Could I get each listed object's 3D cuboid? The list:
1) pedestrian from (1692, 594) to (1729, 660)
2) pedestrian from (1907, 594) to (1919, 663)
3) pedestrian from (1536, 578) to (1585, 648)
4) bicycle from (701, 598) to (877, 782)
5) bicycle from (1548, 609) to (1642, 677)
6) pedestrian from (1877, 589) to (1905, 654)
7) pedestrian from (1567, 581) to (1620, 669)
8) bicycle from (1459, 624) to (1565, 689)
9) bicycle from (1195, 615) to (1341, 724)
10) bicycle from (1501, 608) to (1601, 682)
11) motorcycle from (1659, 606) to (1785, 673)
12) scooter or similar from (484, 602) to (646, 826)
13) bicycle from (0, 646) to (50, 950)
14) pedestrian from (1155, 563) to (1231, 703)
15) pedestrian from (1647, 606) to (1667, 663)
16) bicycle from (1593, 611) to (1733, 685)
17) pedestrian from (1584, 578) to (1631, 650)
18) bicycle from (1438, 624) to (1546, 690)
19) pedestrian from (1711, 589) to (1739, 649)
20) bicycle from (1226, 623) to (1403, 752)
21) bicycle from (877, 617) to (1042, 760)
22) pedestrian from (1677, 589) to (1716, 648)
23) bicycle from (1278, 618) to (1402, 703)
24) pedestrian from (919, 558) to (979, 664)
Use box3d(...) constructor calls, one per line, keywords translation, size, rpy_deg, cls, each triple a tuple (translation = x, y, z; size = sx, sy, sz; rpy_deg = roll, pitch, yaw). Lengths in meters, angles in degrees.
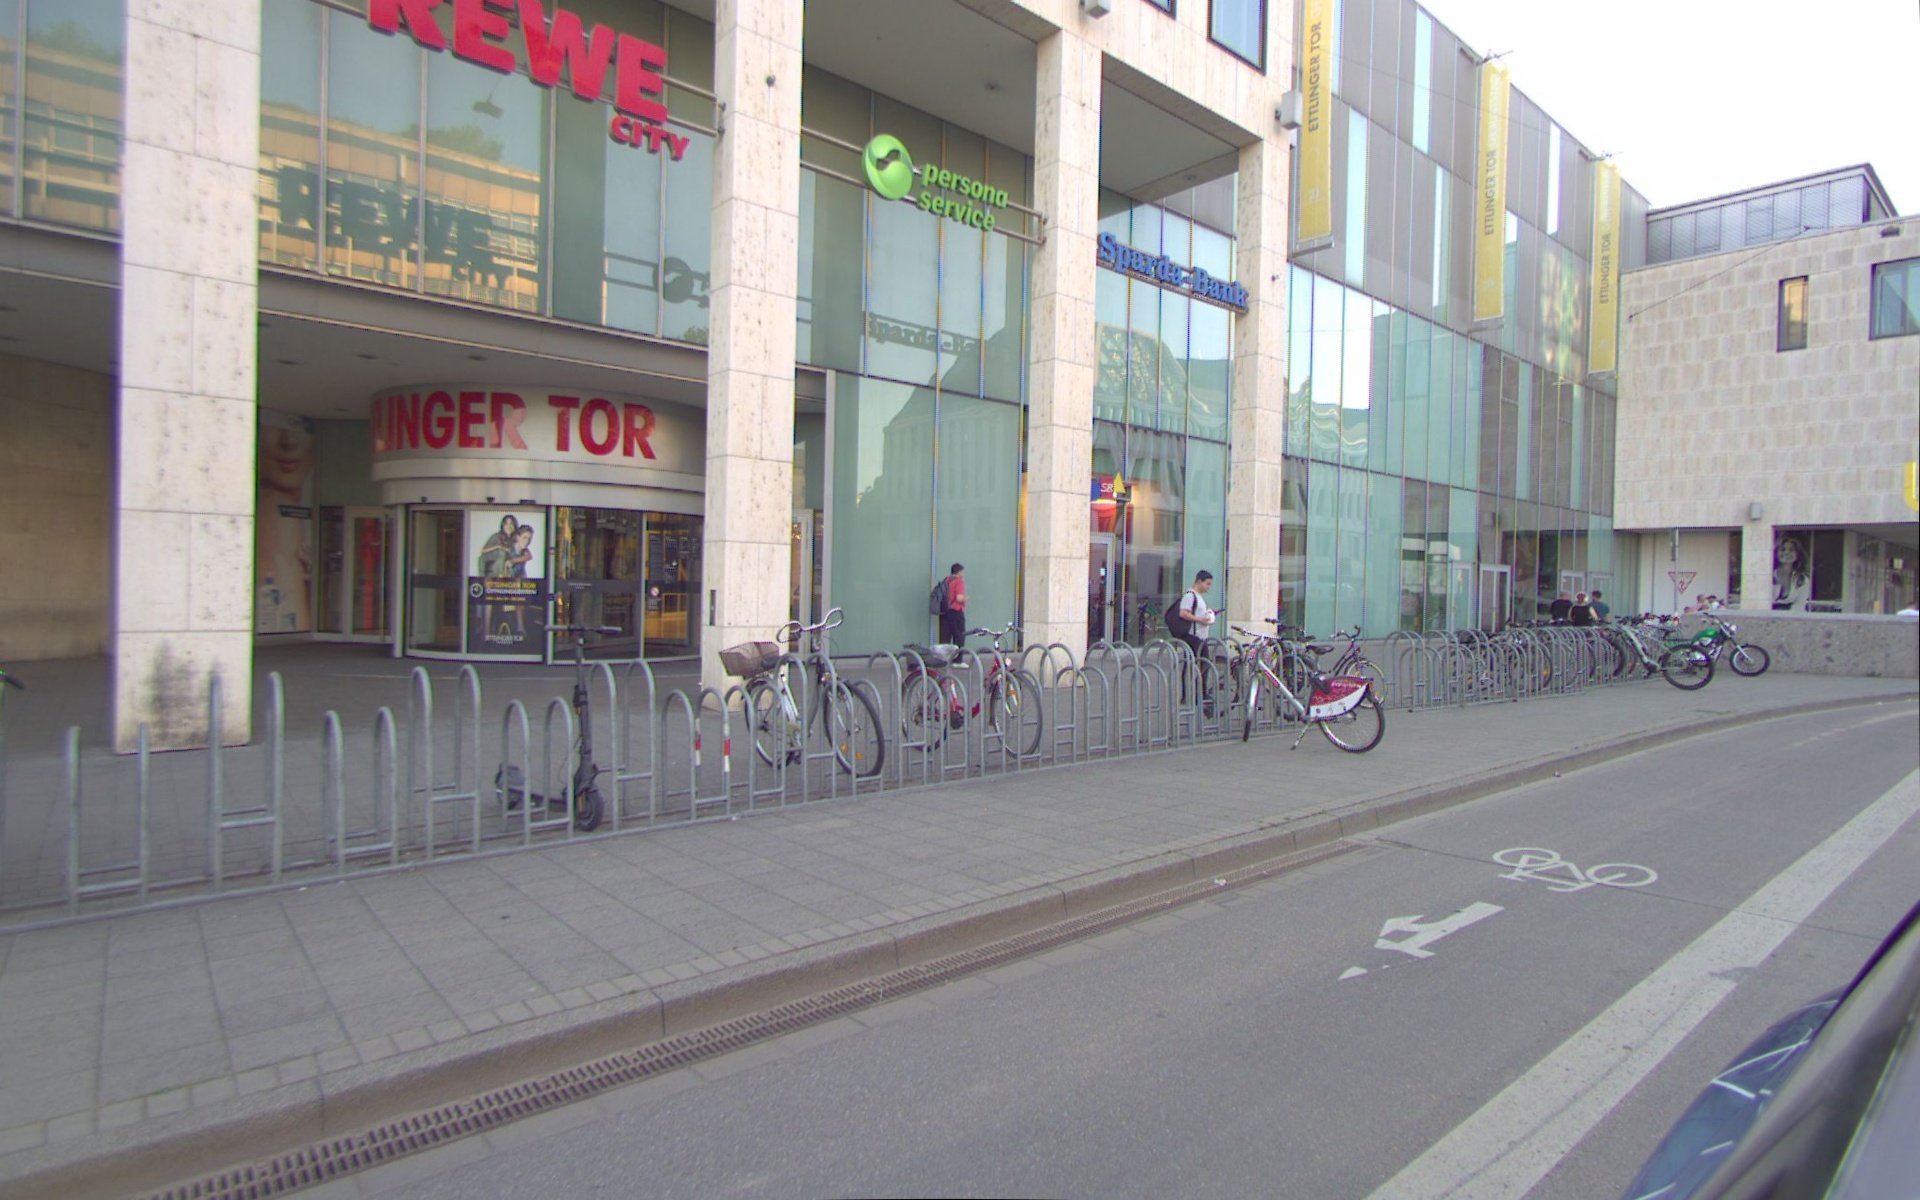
box3d(translation=(21.242, 0.754, 28.647), size=(0.797, 1.802, 0.619), rpy_deg=(1, 1, -38), cls="pedestrian")
box3d(translation=(24.717, 0.732, 25.955), size=(0.483, 1.765, 0.516), rpy_deg=(1, 1, -38), cls="pedestrian")
box3d(translation=(14.781, 0.311, 24.908), size=(0.805, 1.668, 0.740), rpy_deg=(1, 1, -37), cls="pedestrian")
box3d(translation=(-1.323, 0.620, 7.642), size=(0.607, 1.243, 1.517), rpy_deg=(1, -2, -41), cls="bicycle")
box3d(translation=(11.432, 0.763, 18.245), size=(0.509, 1.179, 1.344), rpy_deg=(1, -2, -41), cls="bicycle")
box3d(translation=(25.585, 0.591, 27.810), size=(0.483, 1.765, 0.455), rpy_deg=(1, 1, -38), cls="pedestrian")
box3d(translation=(12.334, 0.475, 19.719), size=(0.802, 1.663, 0.640), rpy_deg=(2, 1, 31), cls="pedestrian")
box3d(translation=(8.494, 0.848, 15.610), size=(0.509, 0.944, 1.344), rpy_deg=(1, -2, -41), cls="bicycle")
box3d(translation=(3.417, 0.735, 11.335), size=(0.569, 1.138, 1.519), rpy_deg=(1, -2, -36), cls="bicycle")
box3d(translation=(9.869, 0.730, 16.920), size=(0.509, 1.179, 1.344), rpy_deg=(1, -2, -41), cls="bicycle")
box3d(translation=(15.617, 0.783, 20.791), size=(0.472, 1.239, 2.004), rpy_deg=(1, 1, -43), cls="motorcycle")
box3d(translation=(-2.480, 0.645, 6.299), size=(0.484, 1.214, 1.194), rpy_deg=(1, 1, -44), cls="scooter or similar")
box3d(translation=(-4.525, 0.817, 4.549), size=(1.768, 1.092, 0.475), rpy_deg=(3, 1, 43), cls="bicycle")
box3d(translation=(2.963, 0.395, 12.885), size=(0.705, 1.713, 0.620), rpy_deg=(2, 1, 40), cls="pedestrian")
box3d(translation=(21.713, 1.064, 31.525), size=(0.444, 1.765, 0.364), rpy_deg=(1, 1, -38), cls="pedestrian")
box3d(translation=(11.604, 0.767, 16.769), size=(0.458, 1.161, 1.837), rpy_deg=(1, -2, -39), cls="bicycle")
box3d(translation=(15.695, 0.331, 24.539), size=(0.805, 1.717, 0.698), rpy_deg=(1, 1, -38), cls="pedestrian")
box3d(translation=(7.983, 0.836, 15.231), size=(0.509, 0.944, 1.344), rpy_deg=(1, -2, -41), cls="bicycle")
box3d(translation=(23.116, 0.563, 30.588), size=(0.644, 1.765, 0.494), rpy_deg=(1, 1, -38), cls="pedestrian")
box3d(translation=(3.209, 0.753, 9.272), size=(0.458, 1.077, 1.518), rpy_deg=(1, -2, -39), cls="bicycle")
box3d(translation=(-0.036, 0.707, 8.694), size=(0.543, 1.120, 1.516), rpy_deg=(1, -2, -43), cls="bicycle")
box3d(translation=(22.639, 0.558, 31.115), size=(0.644, 1.765, 0.794), rpy_deg=(1, 1, -38), cls="pedestrian")
box3d(translation=(5.051, 0.774, 13.474), size=(1.439, 1.078, 0.572), rpy_deg=(-1, -2, 39), cls="bicycle")
box3d(translation=(-0.178, 0.169, 16.509), size=(0.695, 1.672, 0.629), rpy_deg=(1, 1, -40), cls="pedestrian")
